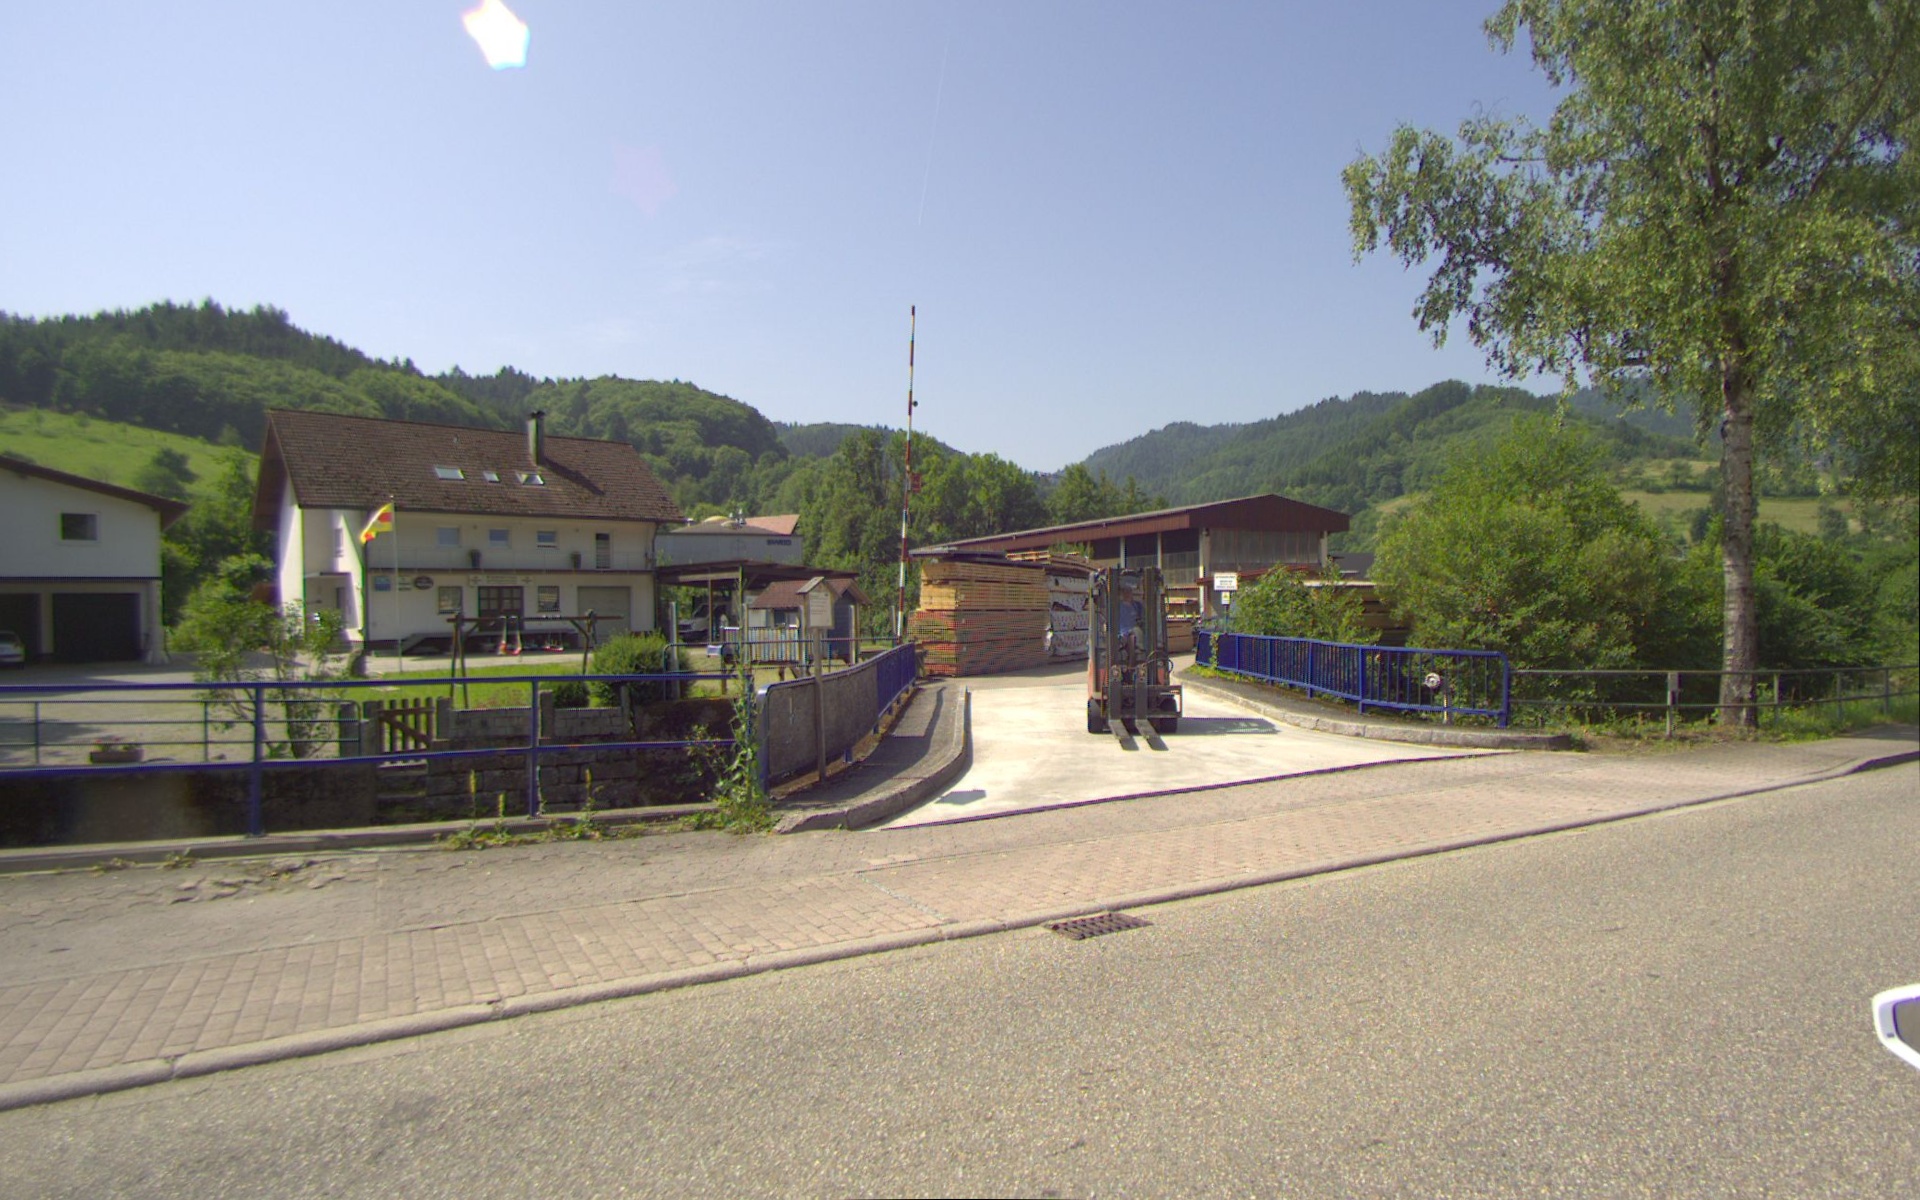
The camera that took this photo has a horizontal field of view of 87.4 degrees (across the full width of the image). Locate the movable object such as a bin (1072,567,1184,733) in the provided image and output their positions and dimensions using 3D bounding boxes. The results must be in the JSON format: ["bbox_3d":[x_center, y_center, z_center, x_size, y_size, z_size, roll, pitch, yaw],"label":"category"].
[{"bbox_3d":[2.249,0.666,13.788,1.114,2.099,2.126,0,-2,-2],"label":"movable object such as a bin"}]

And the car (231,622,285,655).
[{"bbox_3d":[-34.314,1.839,49.080,1.608,1.486,3.270,1,-1,-45],"label":"car"}]

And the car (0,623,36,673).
[{"bbox_3d":[-35.453,1.729,37.143,1.751,1.699,3.757,1,-1,-41],"label":"car"}]

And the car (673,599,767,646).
[{"bbox_3d":[-12.998,1.209,54.569,1.972,2.408,4.683,0,-1,43],"label":"car"}]
